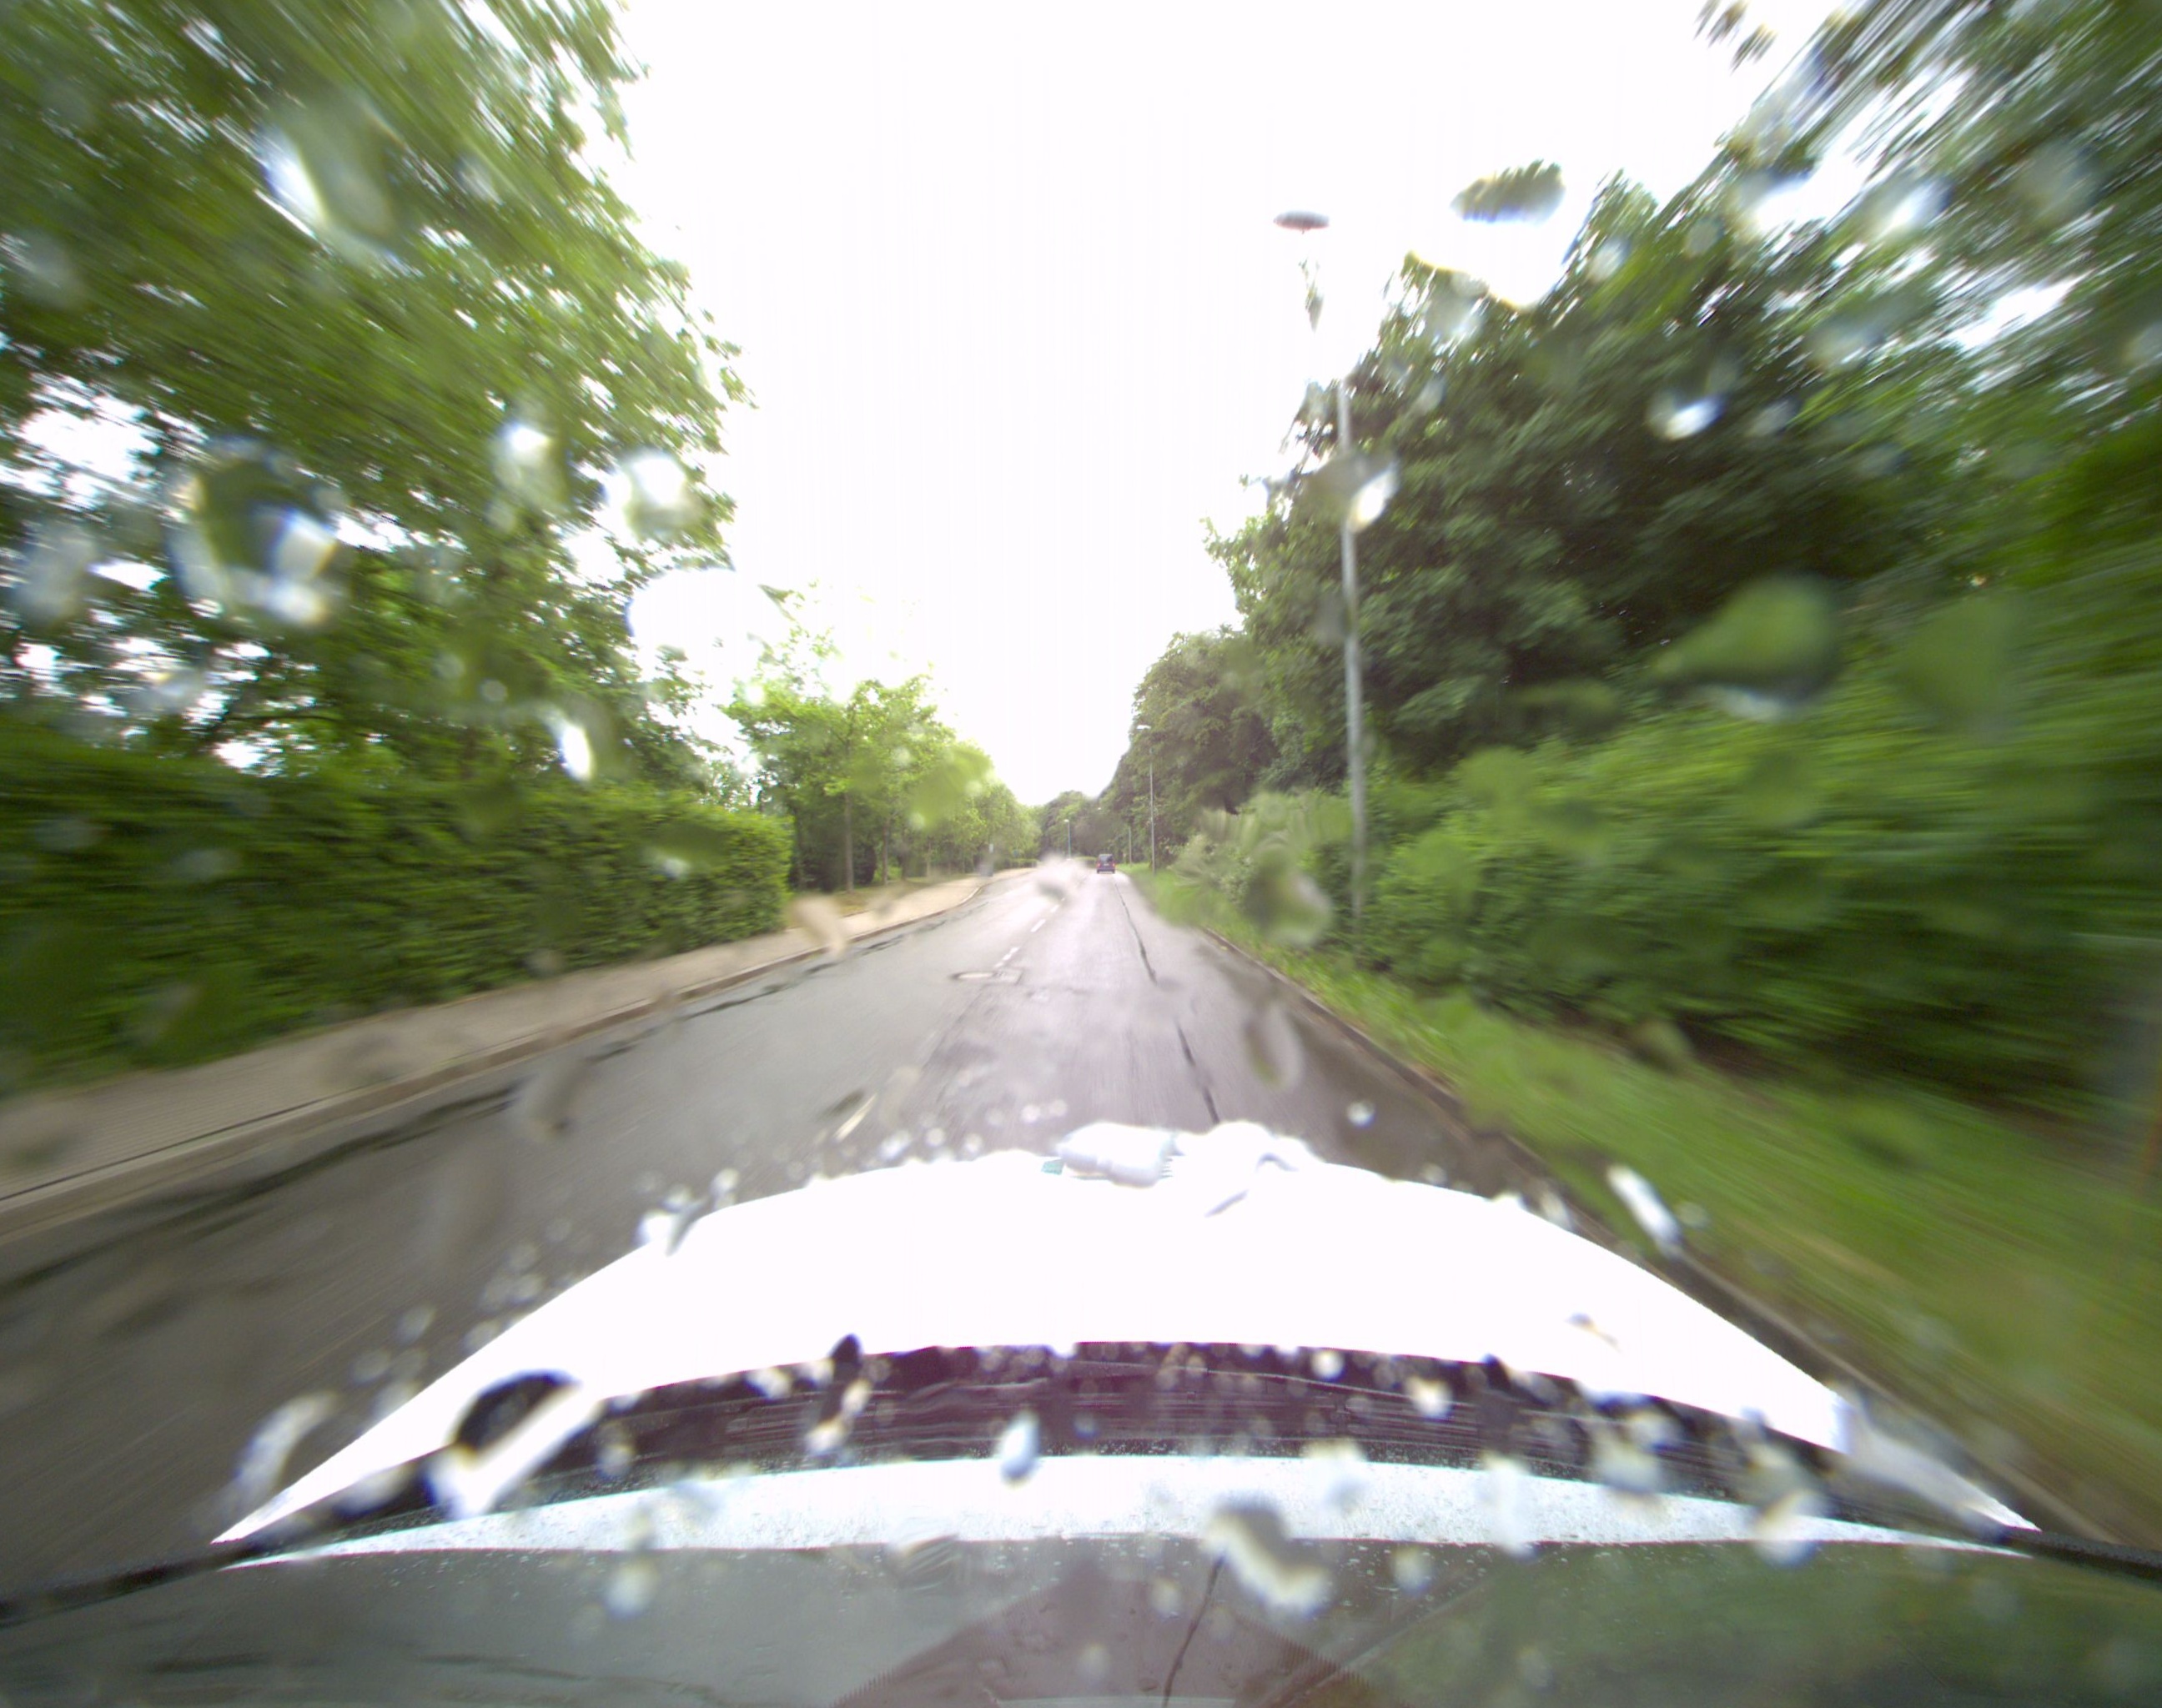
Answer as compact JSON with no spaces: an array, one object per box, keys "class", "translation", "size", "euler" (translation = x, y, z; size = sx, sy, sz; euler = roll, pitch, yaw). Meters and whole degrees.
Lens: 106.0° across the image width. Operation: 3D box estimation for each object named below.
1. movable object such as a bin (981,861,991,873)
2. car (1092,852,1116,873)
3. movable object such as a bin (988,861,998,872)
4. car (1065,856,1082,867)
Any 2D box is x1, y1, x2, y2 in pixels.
[{"class":"movable object such as a bin","translation":[-9.041,1.241,77.494],"size":[0.670,1.026,0.827],"euler":[-4,0,-30]},{"class":"car","translation":[2.207,0.806,79.879],"size":[1.989,1.793,3.995],"euler":[1,1,-4]},{"class":"movable object such as a bin","translation":[-8.439,1.224,77.897],"size":[0.670,1.026,0.827],"euler":[-4,0,-30]},{"class":"car","translation":[-1.318,1.237,138.246],"size":[1.996,1.772,3.981],"euler":[-3,0,-14]}]
